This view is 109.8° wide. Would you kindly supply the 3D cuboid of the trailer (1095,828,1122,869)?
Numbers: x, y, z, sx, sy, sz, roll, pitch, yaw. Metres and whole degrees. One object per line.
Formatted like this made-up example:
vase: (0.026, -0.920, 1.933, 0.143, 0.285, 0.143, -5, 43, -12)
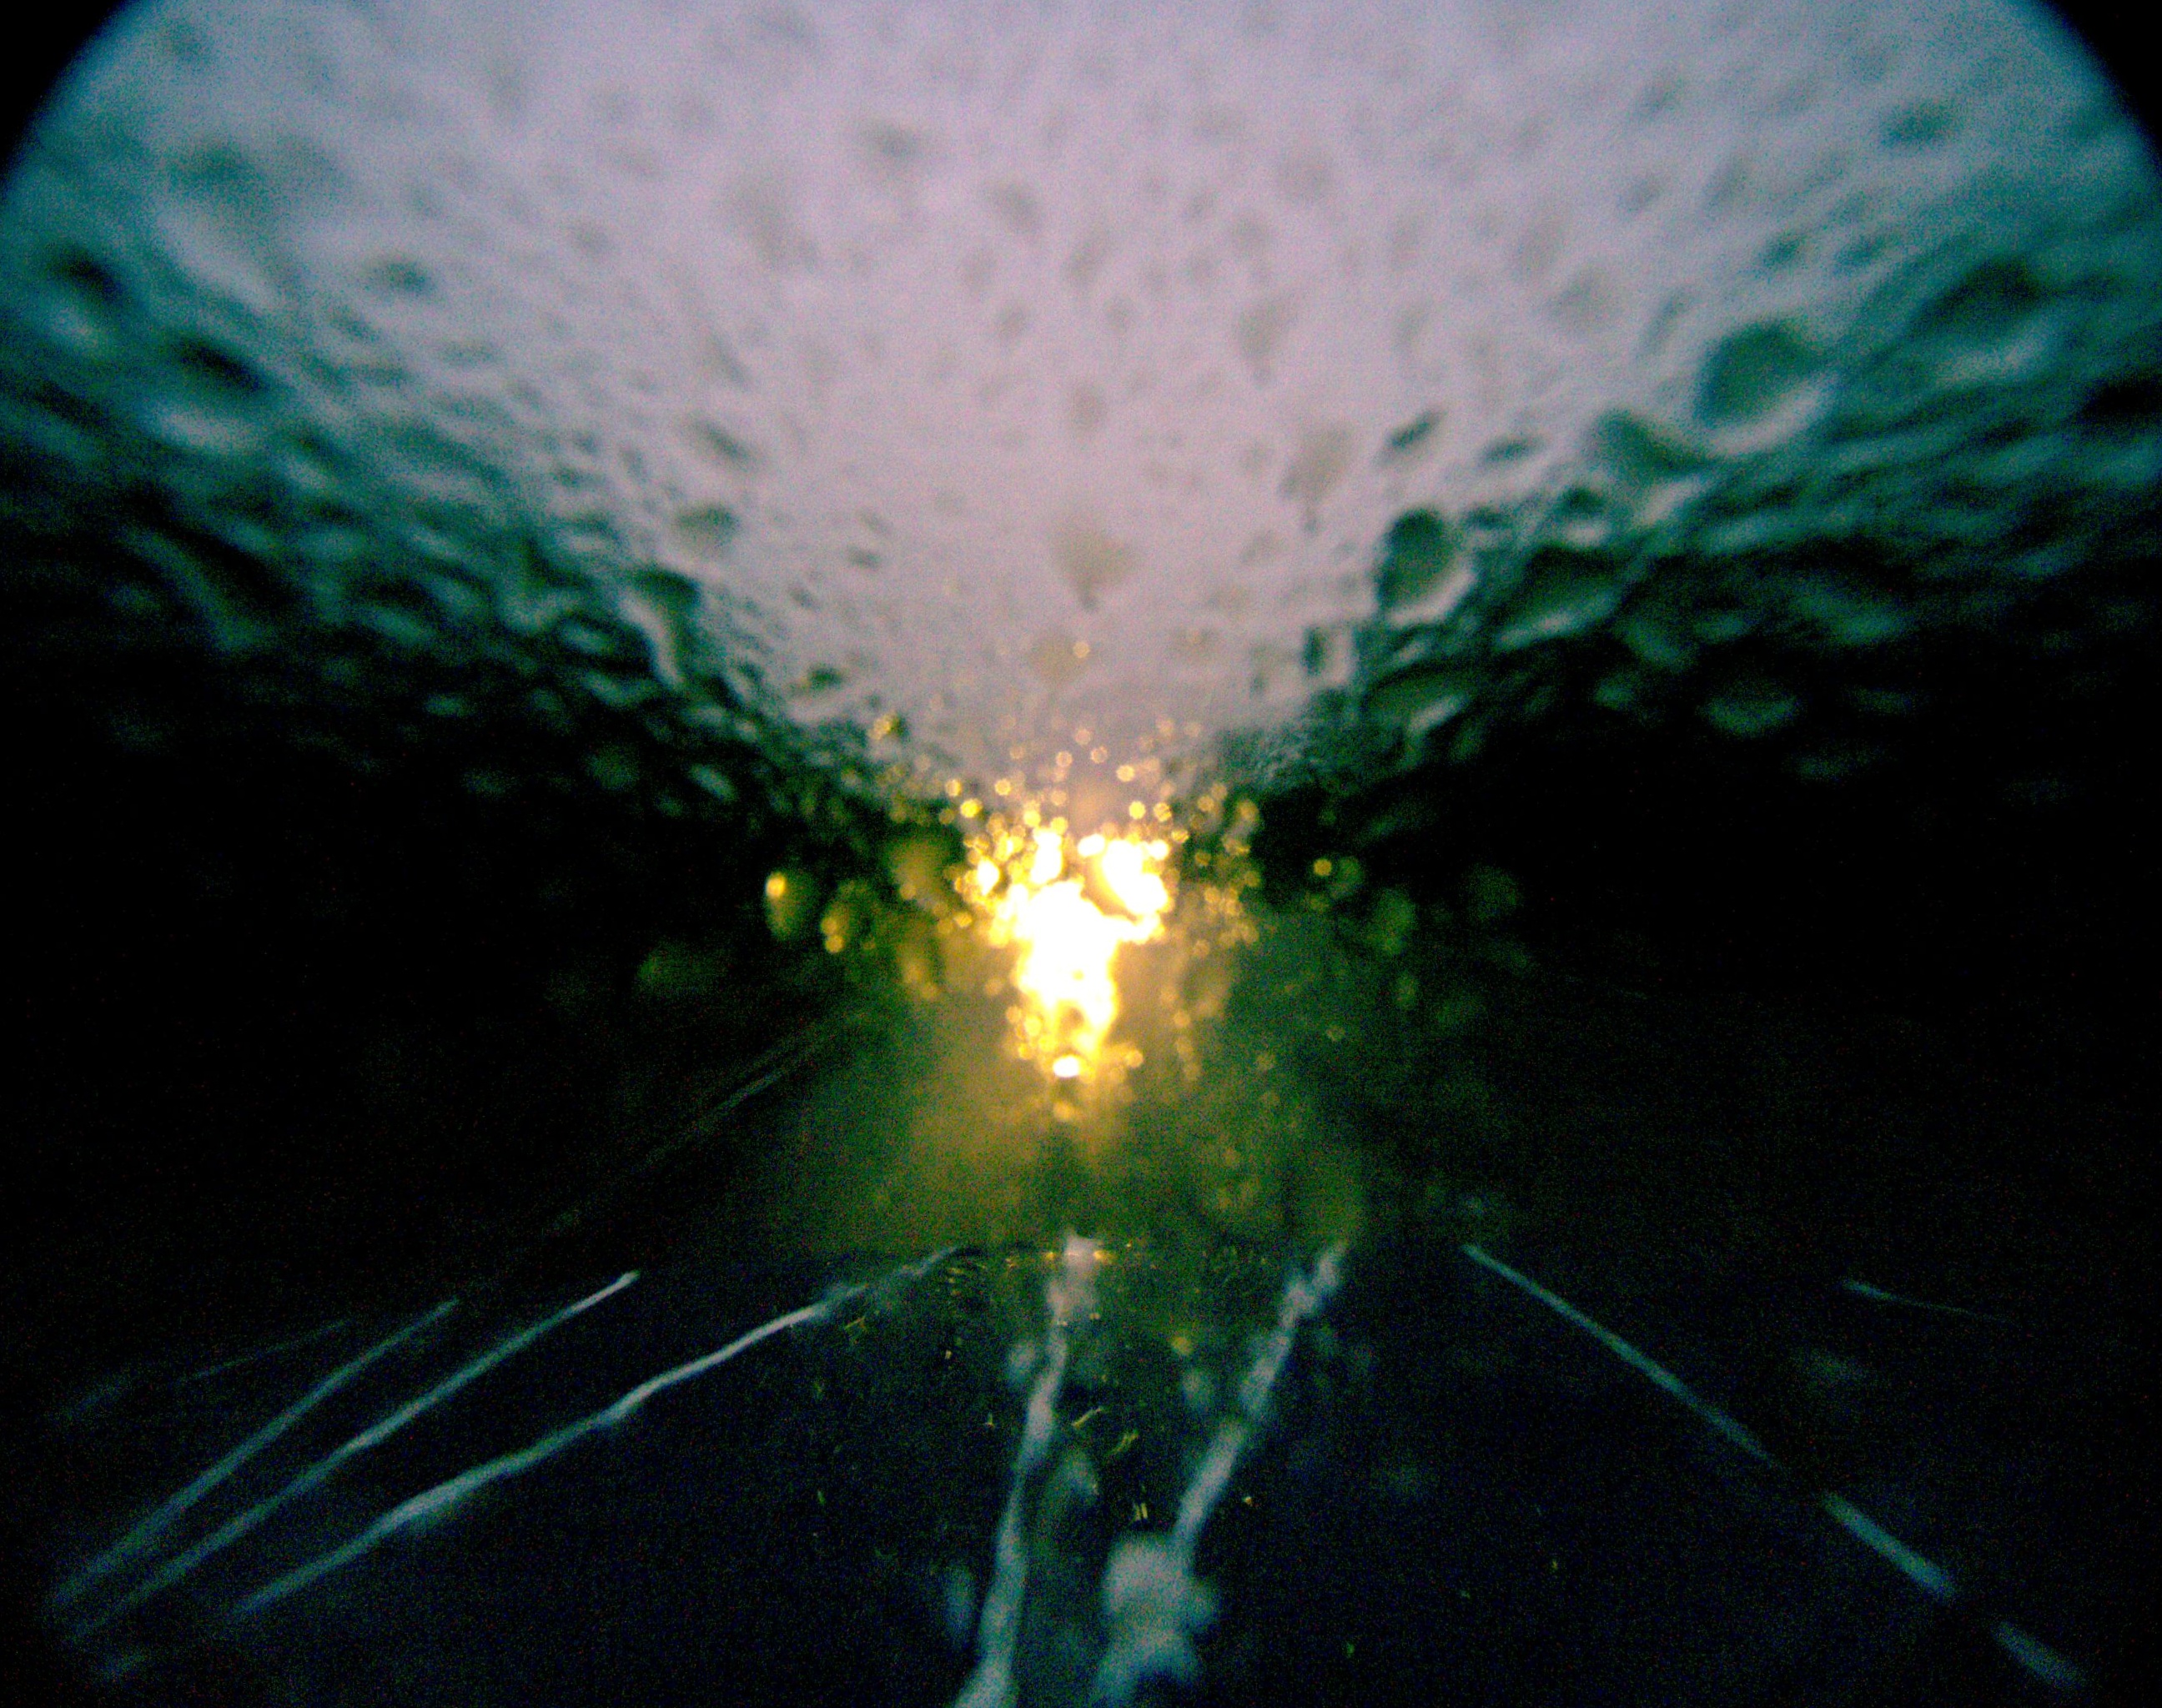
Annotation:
trailer: (3.115, -0.619, 88.685, 2.677, 4.432, 12.241, -2, 0, 0)
